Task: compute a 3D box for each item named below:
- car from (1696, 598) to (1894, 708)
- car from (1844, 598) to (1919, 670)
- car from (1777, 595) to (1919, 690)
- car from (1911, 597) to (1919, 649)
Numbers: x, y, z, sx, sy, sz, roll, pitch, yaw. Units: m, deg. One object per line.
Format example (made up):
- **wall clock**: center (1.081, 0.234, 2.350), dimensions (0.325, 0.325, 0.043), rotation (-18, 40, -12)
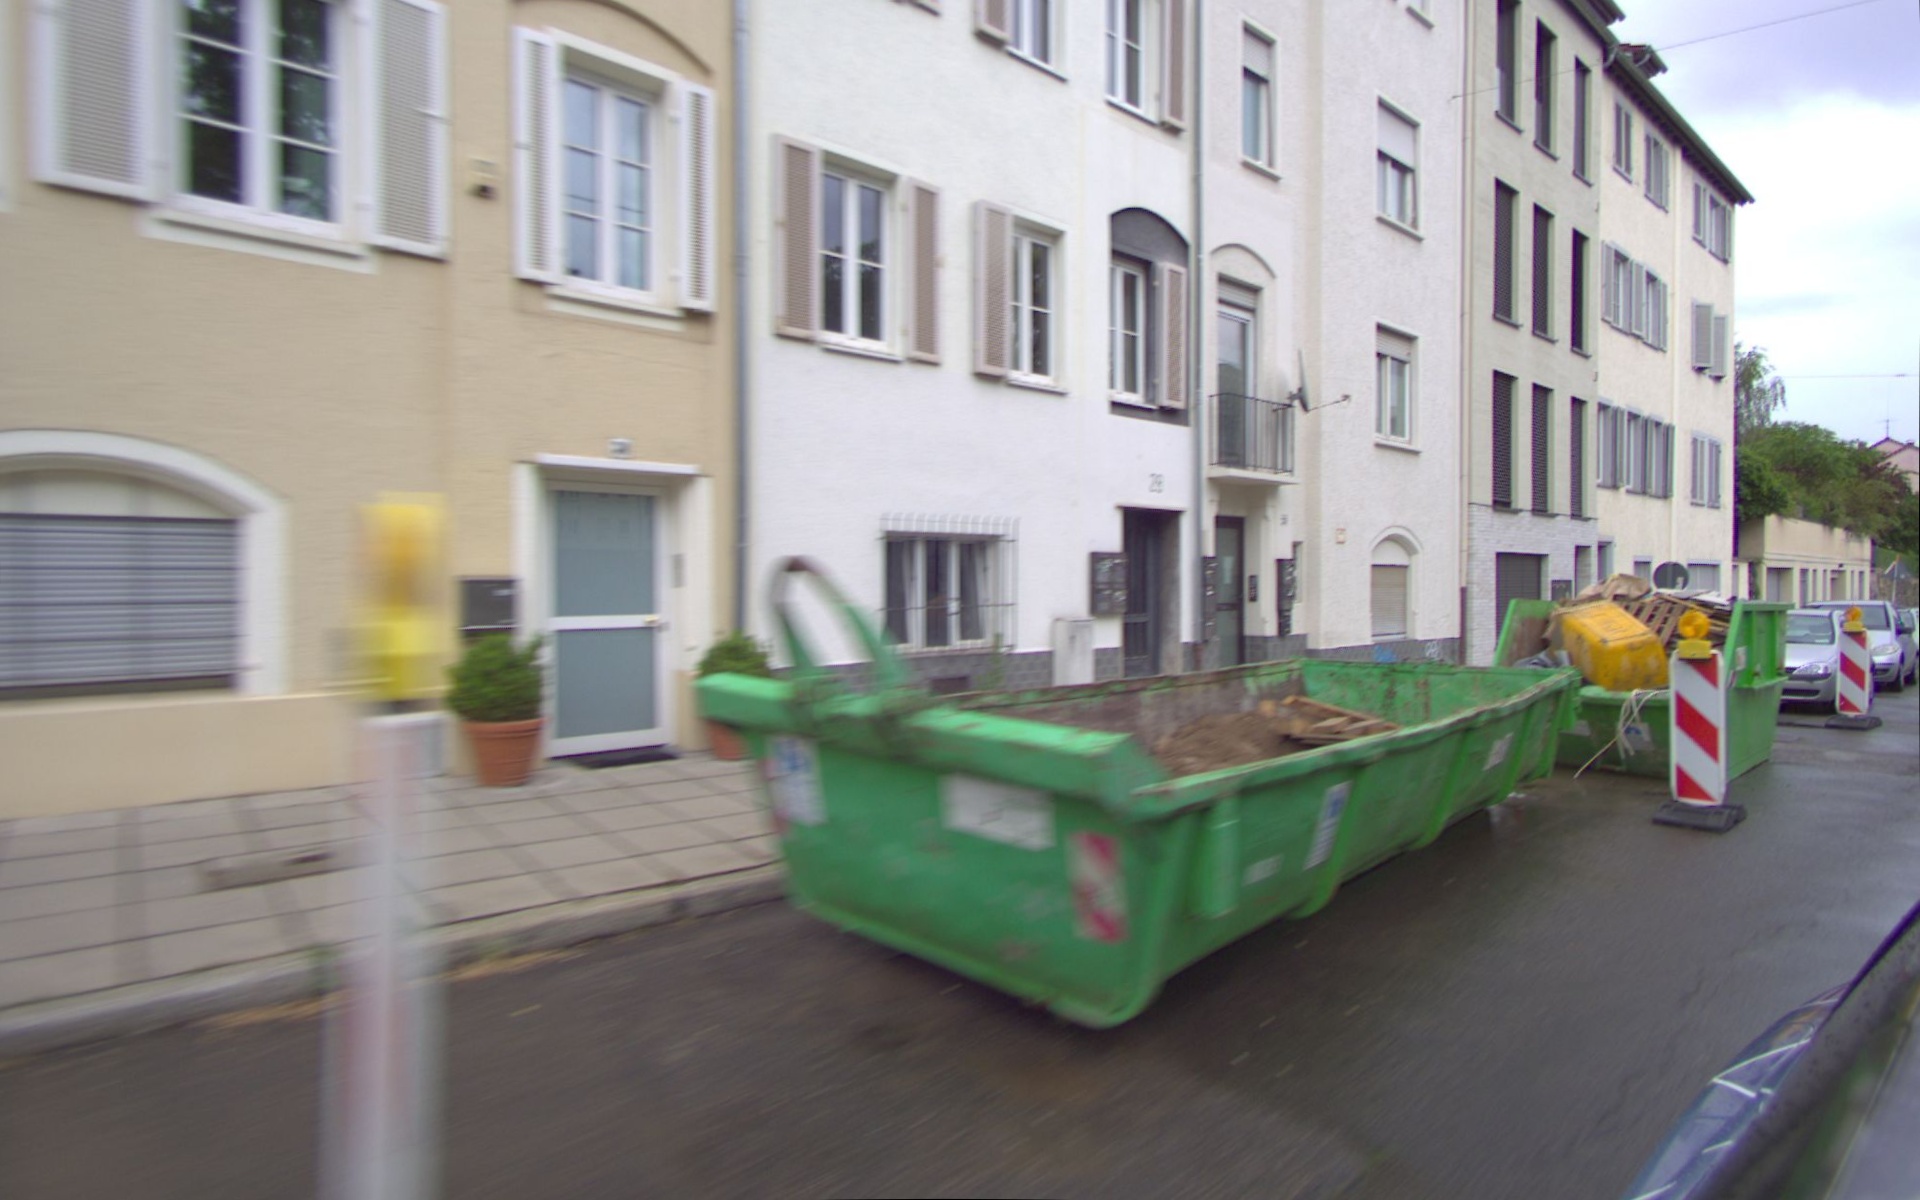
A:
- **car**: center (12.424, 0.717, 14.988), dimensions (3.774, 1.429, 1.629), rotation (1, -2, -41)
- **car**: center (20.648, 0.720, 22.088), dimensions (3.694, 1.472, 1.561), rotation (1, -2, -42)
- **car**: center (16.385, 0.720, 18.410), dimensions (3.930, 1.544, 1.718), rotation (1, -2, -41)
- **car**: center (29.372, 0.673, 29.824), dimensions (3.694, 1.472, 1.631), rotation (1, -2, -42)
